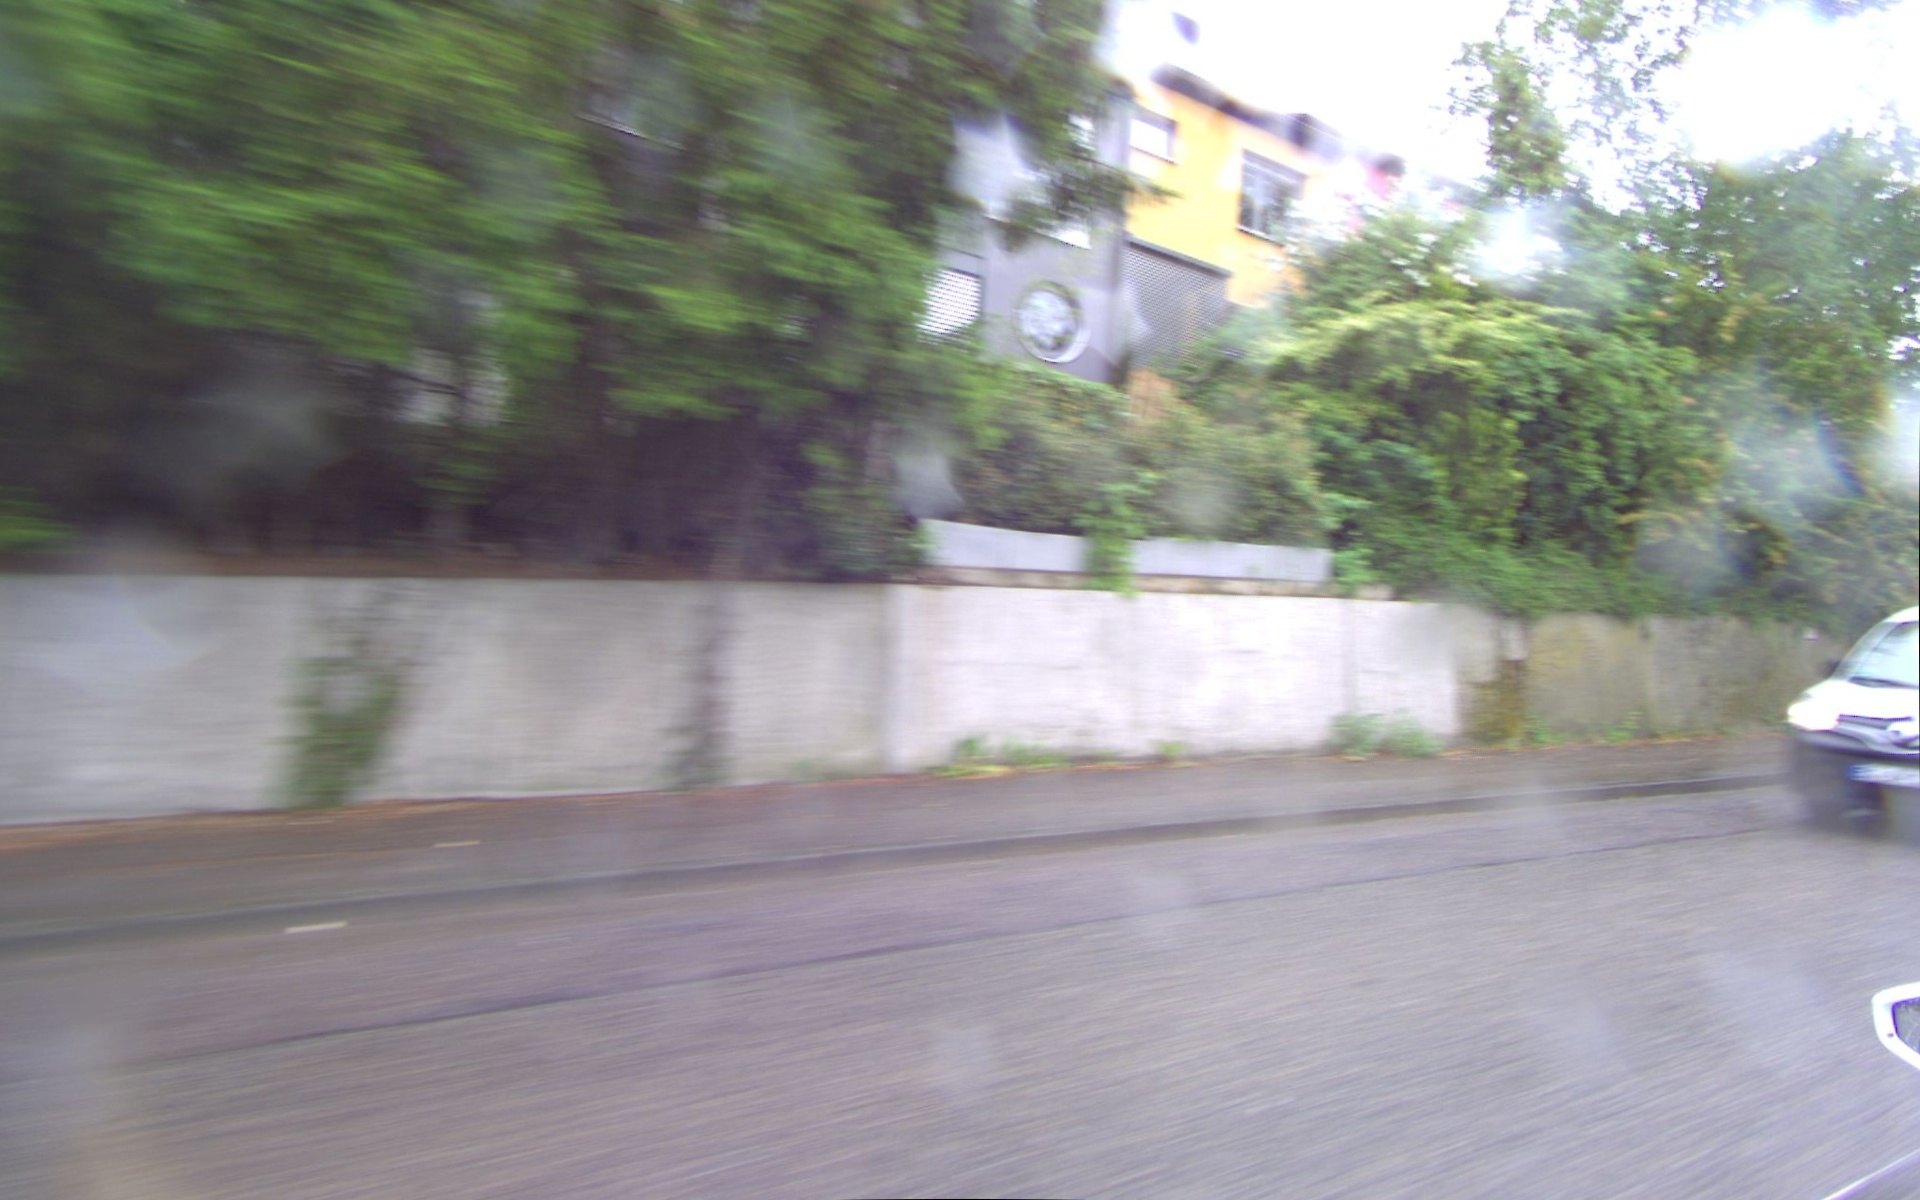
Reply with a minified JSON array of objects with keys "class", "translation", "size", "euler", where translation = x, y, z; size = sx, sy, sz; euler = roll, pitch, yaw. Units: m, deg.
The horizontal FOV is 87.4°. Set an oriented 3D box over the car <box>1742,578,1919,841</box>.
[{"class":"car","translation":[8.404,0.800,7.912],"size":[4.364,1.779,1.833],"euler":[2,1,-27]}]
